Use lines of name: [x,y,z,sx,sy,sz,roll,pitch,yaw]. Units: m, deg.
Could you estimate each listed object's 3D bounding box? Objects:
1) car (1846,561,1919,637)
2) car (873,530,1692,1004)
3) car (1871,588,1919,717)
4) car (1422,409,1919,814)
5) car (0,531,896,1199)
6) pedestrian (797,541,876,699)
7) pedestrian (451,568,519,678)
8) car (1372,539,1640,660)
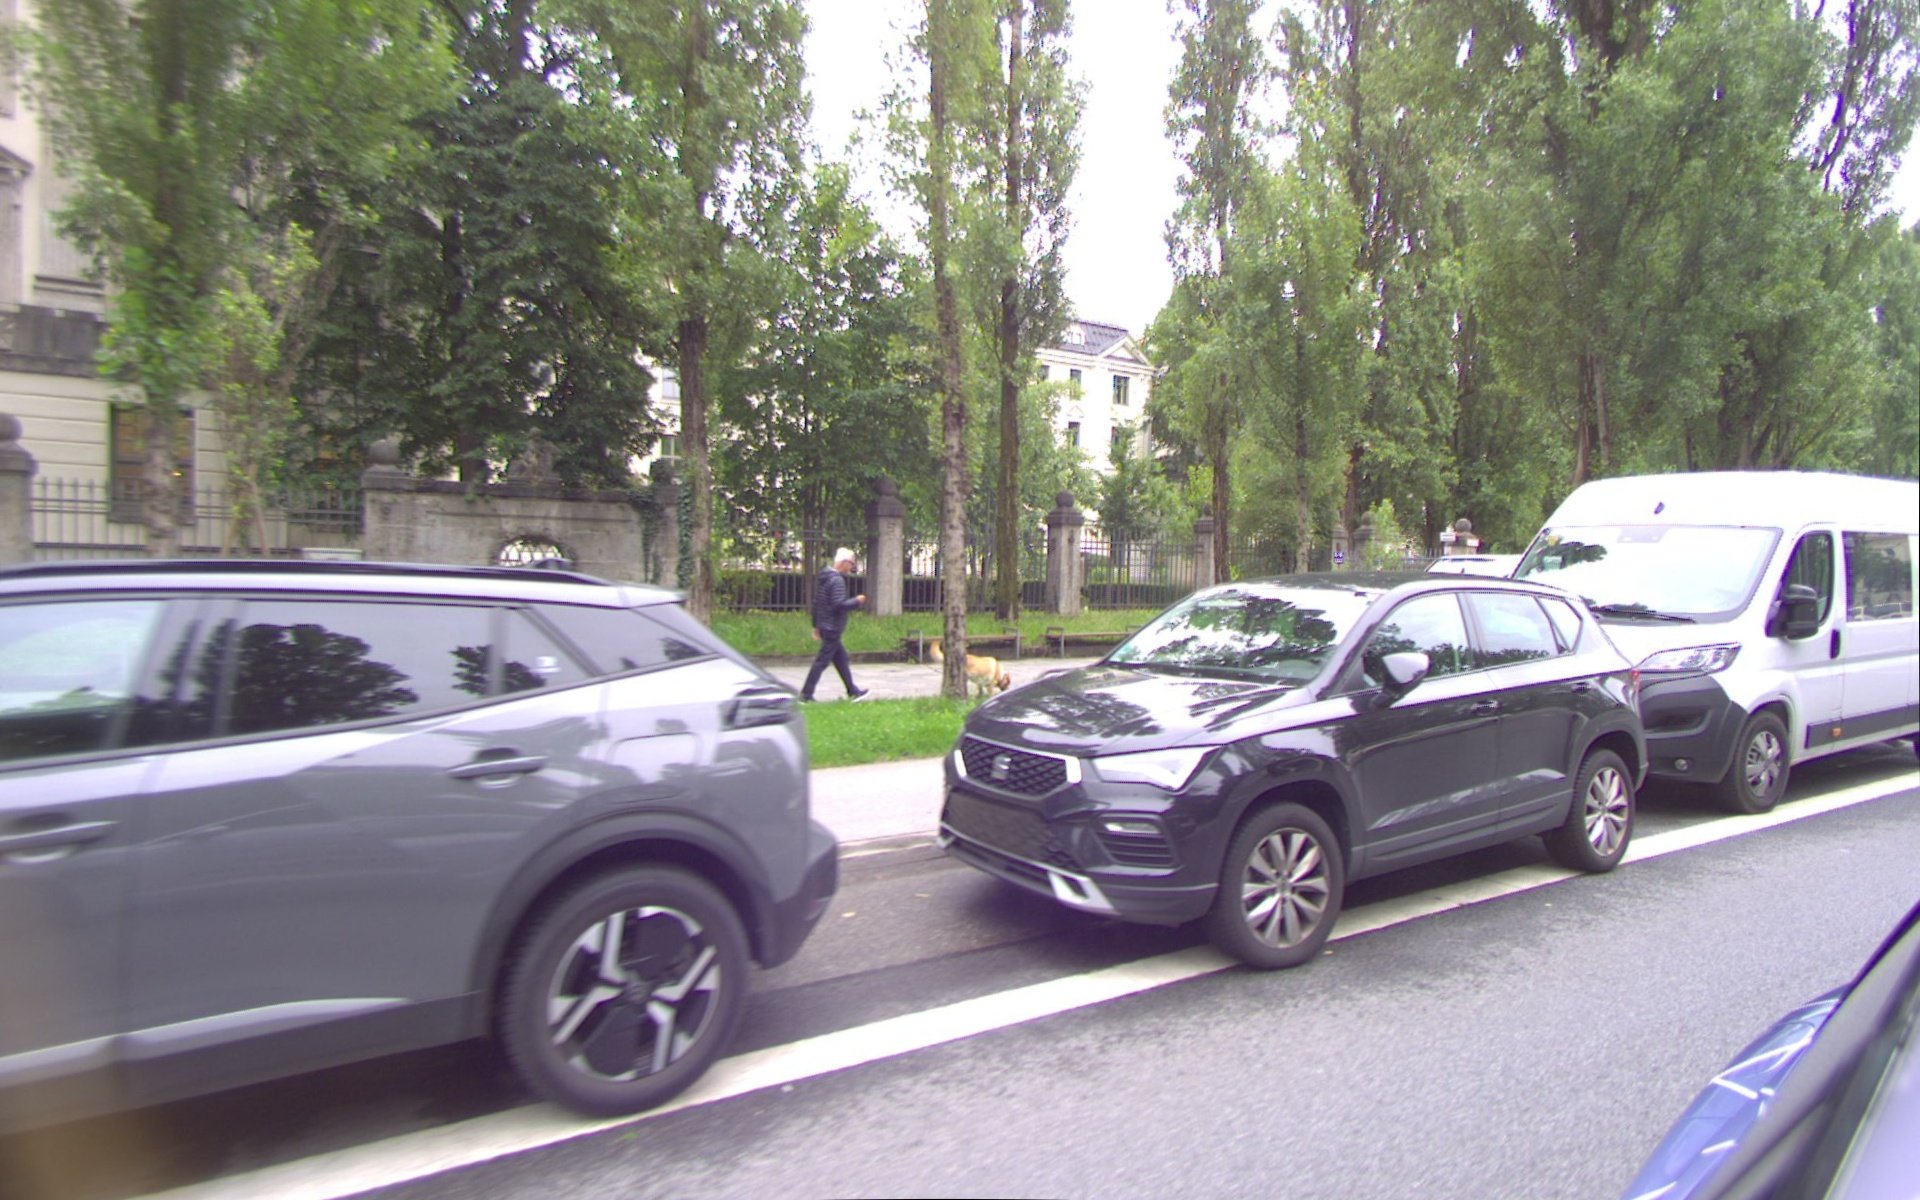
car: [26.660,-0.029,28.057,4.789,1.969,1.887,0,0,-32]
car: [1.807,0.545,5.298,4.139,1.610,1.828,0,1,-31]
car: [12.847,0.596,12.163,3.921,1.468,1.761,0,-1,-31]
car: [6.848,0.055,8.762,6.159,2.510,2.083,0,0,-31]
car: [-2.350,0.608,2.863,4.032,1.522,1.658,0,0,-31]
pedestrian: [-1.372,0.206,11.191,0.620,1.680,0.718,0,1,-31]
pedestrian: [-5.855,0.261,12.457,0.658,1.259,0.883,1,3,-31]
car: [10.051,-0.047,18.528,4.981,1.970,2.002,0,2,-30]
